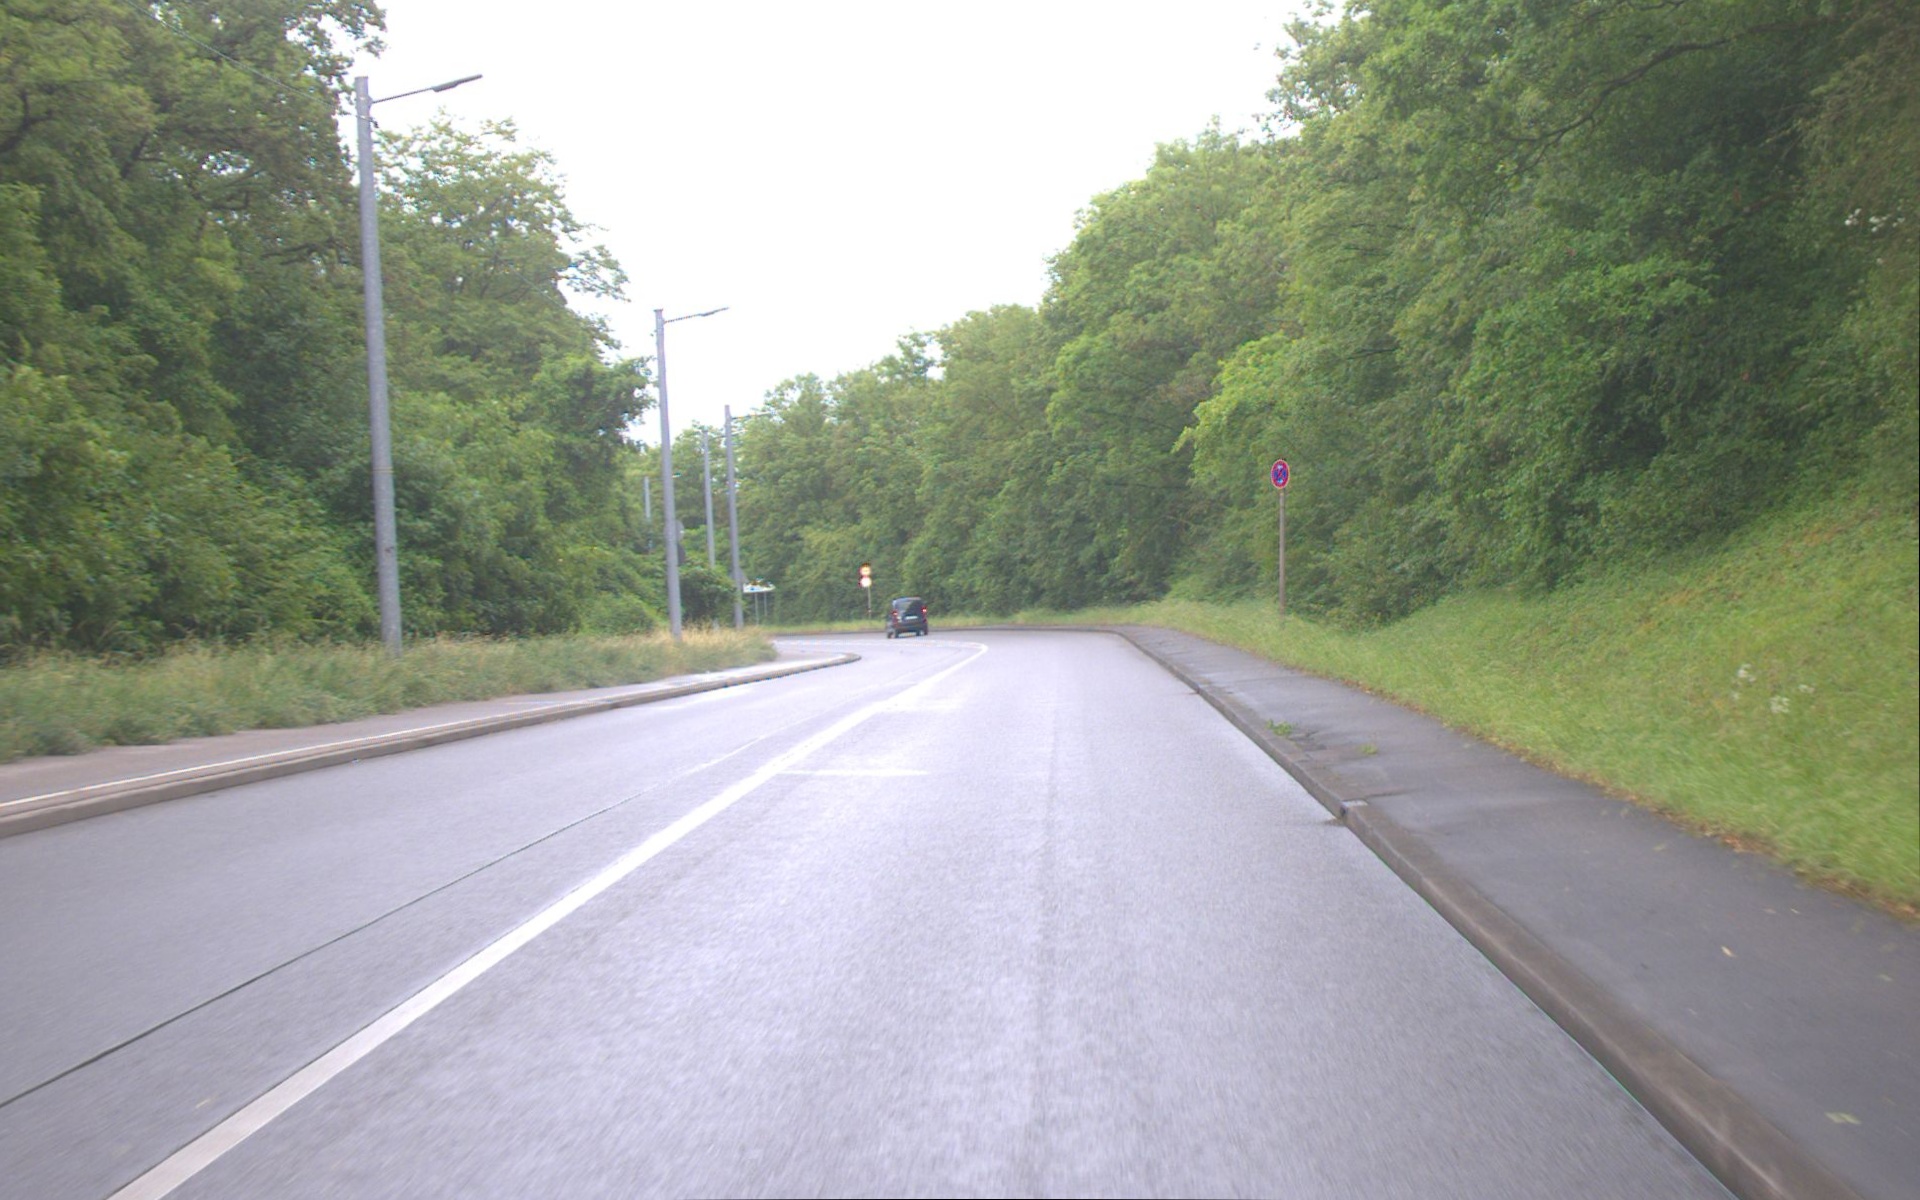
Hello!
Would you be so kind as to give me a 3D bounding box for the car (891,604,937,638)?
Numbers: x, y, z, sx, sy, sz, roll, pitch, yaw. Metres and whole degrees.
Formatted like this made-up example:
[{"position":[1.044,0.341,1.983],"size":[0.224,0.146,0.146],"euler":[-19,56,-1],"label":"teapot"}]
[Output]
[{"position":[-2.230,1.030,164.801],"size":[1.867,1.590,4.000],"euler":[1,-1,-5],"label":"car"}]
